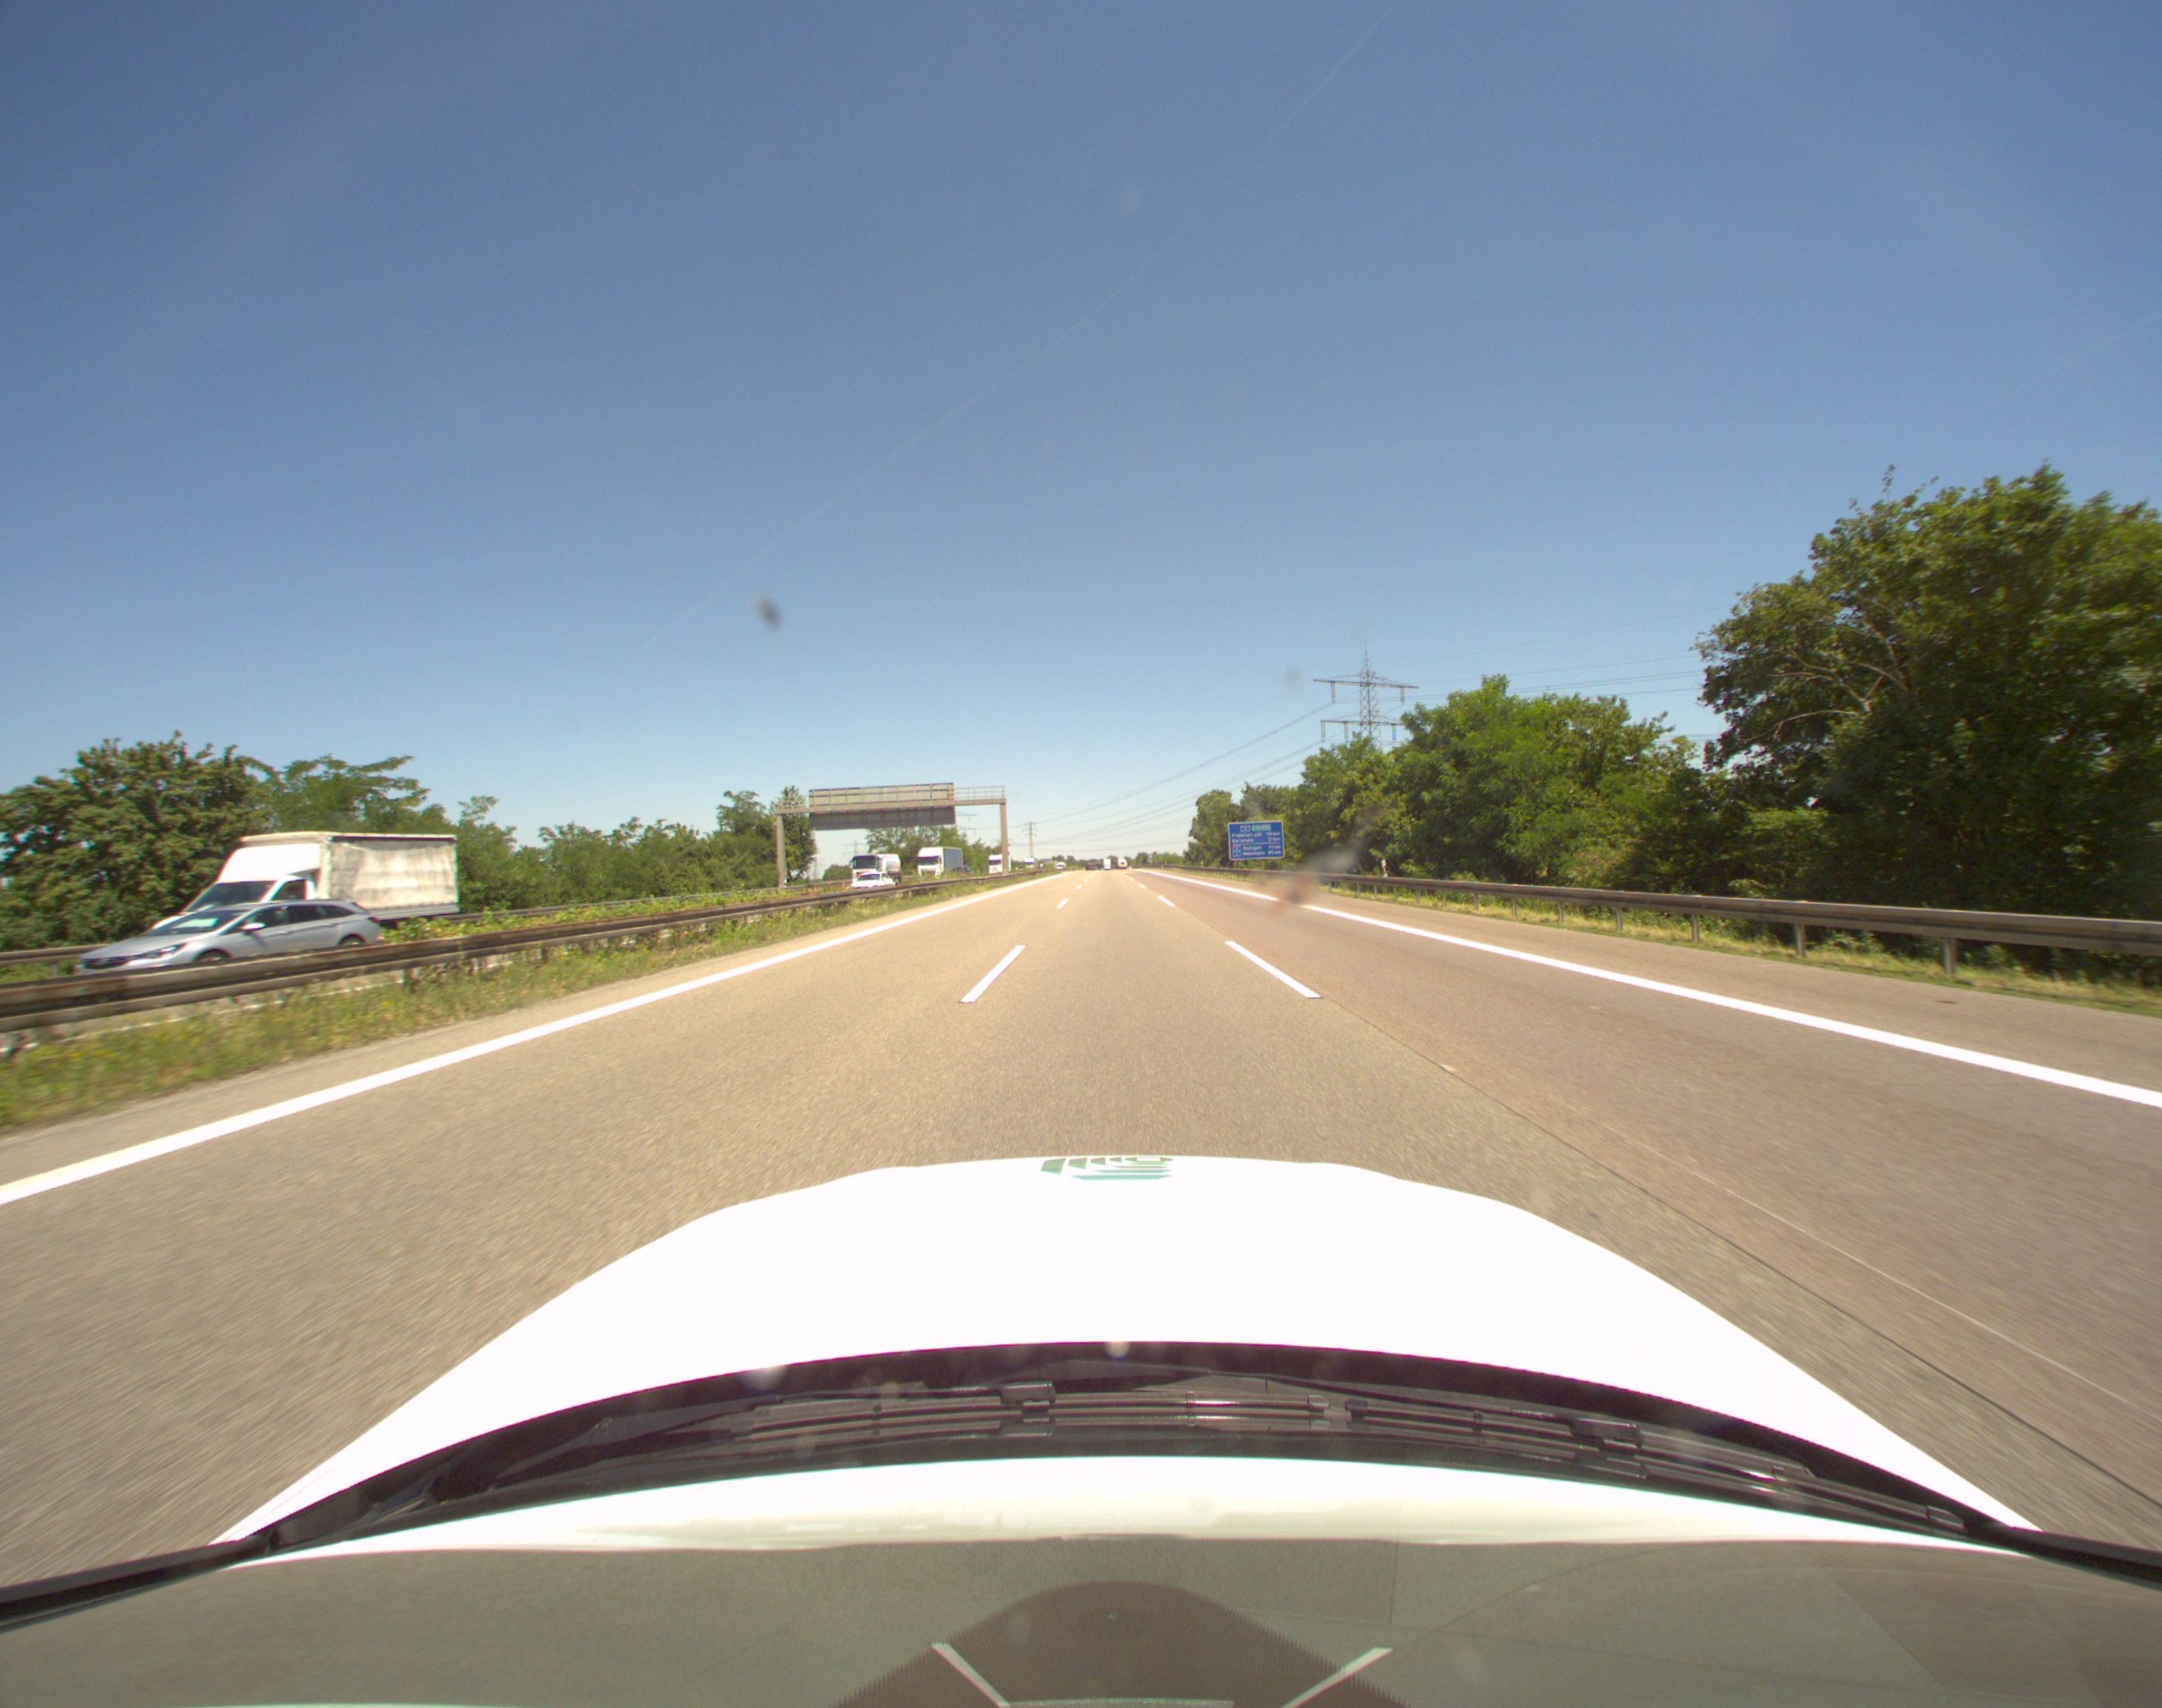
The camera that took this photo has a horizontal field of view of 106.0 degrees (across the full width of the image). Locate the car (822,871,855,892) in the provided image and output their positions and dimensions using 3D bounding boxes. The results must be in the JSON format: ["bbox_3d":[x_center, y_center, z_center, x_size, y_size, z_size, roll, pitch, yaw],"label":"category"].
[{"bbox_3d":[-23.067,2.561,77.623,1.925,1.816,3.998,-3,0,-1],"label":"car"}]

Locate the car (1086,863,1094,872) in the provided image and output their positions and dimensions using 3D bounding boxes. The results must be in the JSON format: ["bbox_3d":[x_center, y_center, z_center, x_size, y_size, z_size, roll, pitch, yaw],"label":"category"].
[{"bbox_3d":[2.079,3.075,186.631,1.784,2.014,3.889,-1,0,2],"label":"car"}]

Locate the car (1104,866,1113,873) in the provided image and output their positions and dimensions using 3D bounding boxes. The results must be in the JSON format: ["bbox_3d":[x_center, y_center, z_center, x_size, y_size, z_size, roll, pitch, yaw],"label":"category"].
[{"bbox_3d":[7.939,4.509,234.695,2.167,1.929,4.618,-2,-1,5],"label":"car"}]

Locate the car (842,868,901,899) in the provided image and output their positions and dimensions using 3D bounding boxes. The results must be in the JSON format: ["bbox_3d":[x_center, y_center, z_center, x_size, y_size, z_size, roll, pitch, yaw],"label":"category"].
[{"bbox_3d":[-11.554,1.581,45.215,1.986,1.510,4.243,-2,-1,1],"label":"car"}]

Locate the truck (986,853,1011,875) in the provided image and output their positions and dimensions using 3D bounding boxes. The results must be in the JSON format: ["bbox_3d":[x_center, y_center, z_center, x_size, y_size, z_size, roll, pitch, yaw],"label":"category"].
[{"bbox_3d":[-16.273,1.917,162.246,2.950,4.091,17.030,-2,-1,1],"label":"truck"}]

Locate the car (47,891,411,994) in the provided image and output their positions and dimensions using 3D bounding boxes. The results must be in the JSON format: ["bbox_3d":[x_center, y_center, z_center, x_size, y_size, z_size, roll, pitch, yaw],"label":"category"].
[{"bbox_3d":[-16.575,1.622,16.368,1.986,1.484,4.947,-2,0,2],"label":"car"}]

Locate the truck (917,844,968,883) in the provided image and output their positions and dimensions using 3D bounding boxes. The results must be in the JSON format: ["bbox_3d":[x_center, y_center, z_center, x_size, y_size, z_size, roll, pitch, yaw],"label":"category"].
[{"bbox_3d":[-17.040,1.162,101.701,2.702,4.389,17.331,-2,-1,2],"label":"truck"}]

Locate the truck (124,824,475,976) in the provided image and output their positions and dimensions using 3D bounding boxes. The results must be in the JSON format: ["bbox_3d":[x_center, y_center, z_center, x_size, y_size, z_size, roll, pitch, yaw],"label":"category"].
[{"bbox_3d":[-20.972,1.101,22.678,2.360,3.465,7.425,-2,-1,2],"label":"truck"}]

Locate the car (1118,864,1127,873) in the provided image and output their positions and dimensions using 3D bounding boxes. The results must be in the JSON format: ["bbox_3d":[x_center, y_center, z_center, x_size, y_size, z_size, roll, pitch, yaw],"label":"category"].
[{"bbox_3d":[10.204,3.605,199.437,1.986,2.014,4.001,-2,-1,1],"label":"car"}]

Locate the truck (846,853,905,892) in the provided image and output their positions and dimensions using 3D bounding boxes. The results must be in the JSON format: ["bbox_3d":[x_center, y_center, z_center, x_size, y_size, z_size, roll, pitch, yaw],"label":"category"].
[{"bbox_3d":[-18.588,1.624,74.267,2.702,3.208,8.928,-2,-1,2],"label":"truck"}]
